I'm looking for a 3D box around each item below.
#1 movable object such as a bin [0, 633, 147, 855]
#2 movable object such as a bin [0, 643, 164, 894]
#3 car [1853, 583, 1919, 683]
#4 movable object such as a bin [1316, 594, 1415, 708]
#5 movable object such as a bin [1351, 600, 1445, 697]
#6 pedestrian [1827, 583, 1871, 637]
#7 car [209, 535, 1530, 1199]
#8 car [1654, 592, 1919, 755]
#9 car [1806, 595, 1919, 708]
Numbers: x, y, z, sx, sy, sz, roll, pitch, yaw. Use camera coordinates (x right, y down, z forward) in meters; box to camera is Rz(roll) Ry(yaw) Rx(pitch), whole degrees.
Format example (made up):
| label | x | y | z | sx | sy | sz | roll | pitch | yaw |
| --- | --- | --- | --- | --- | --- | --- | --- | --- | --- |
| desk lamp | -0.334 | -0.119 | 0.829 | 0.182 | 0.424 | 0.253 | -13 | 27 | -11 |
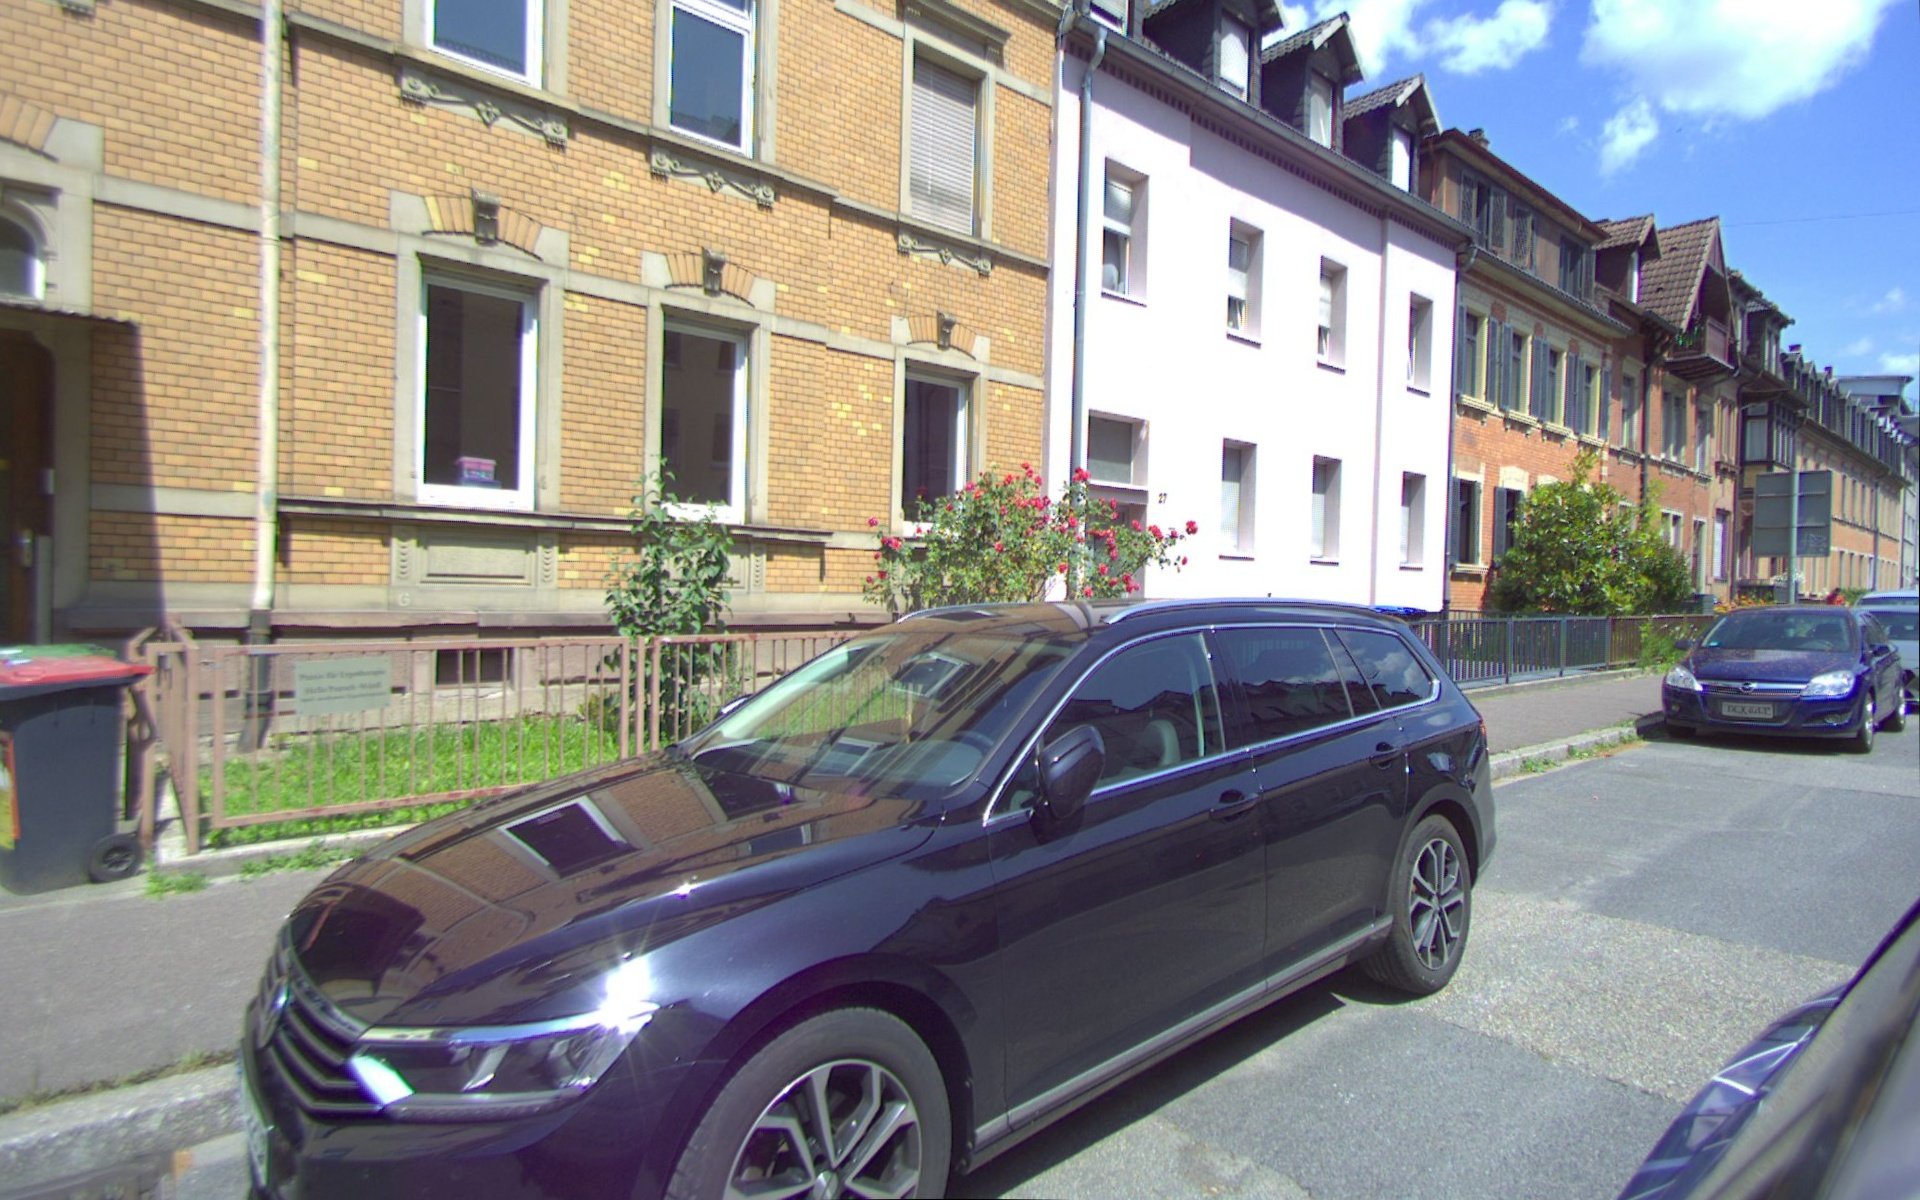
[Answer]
| label | x | y | z | sx | sy | sz | roll | pitch | yaw |
| --- | --- | --- | --- | --- | --- | --- | --- | --- | --- |
| movable object such as a bin | -4.289 | 0.649 | 4.832 | 0.601 | 0.940 | 0.626 | 1 | 1 | -41 |
| movable object such as a bin | -3.842 | 0.685 | 4.365 | 0.601 | 0.940 | 0.626 | 1 | 1 | -41 |
| car | 17.974 | 0.573 | 18.698 | 3.862 | 1.732 | 1.707 | 0 | -1 | -41 |
| movable object such as a bin | 4.747 | 0.568 | 11.846 | 0.862 | 1.257 | 0.752 | 1 | 1 | -42 |
| movable object such as a bin | 5.364 | 0.567 | 12.399 | 0.862 | 1.111 | 0.752 | 0 | 1 | -42 |
| pedestrian | 32.260 | 0.351 | 36.733 | 0.964 | 1.885 | 1.056 | 1 | 1 | -40 |
| car | 0.207 | 0.679 | 3.477 | 4.343 | 1.498 | 1.759 | 0 | -1 | -42 |
| car | 9.299 | 0.689 | 11.244 | 3.862 | 1.498 | 1.707 | 0 | -1 | -41 |
| car | 13.964 | 0.695 | 14.915 | 3.862 | 1.498 | 1.707 | 0 | -1 | -41 |
